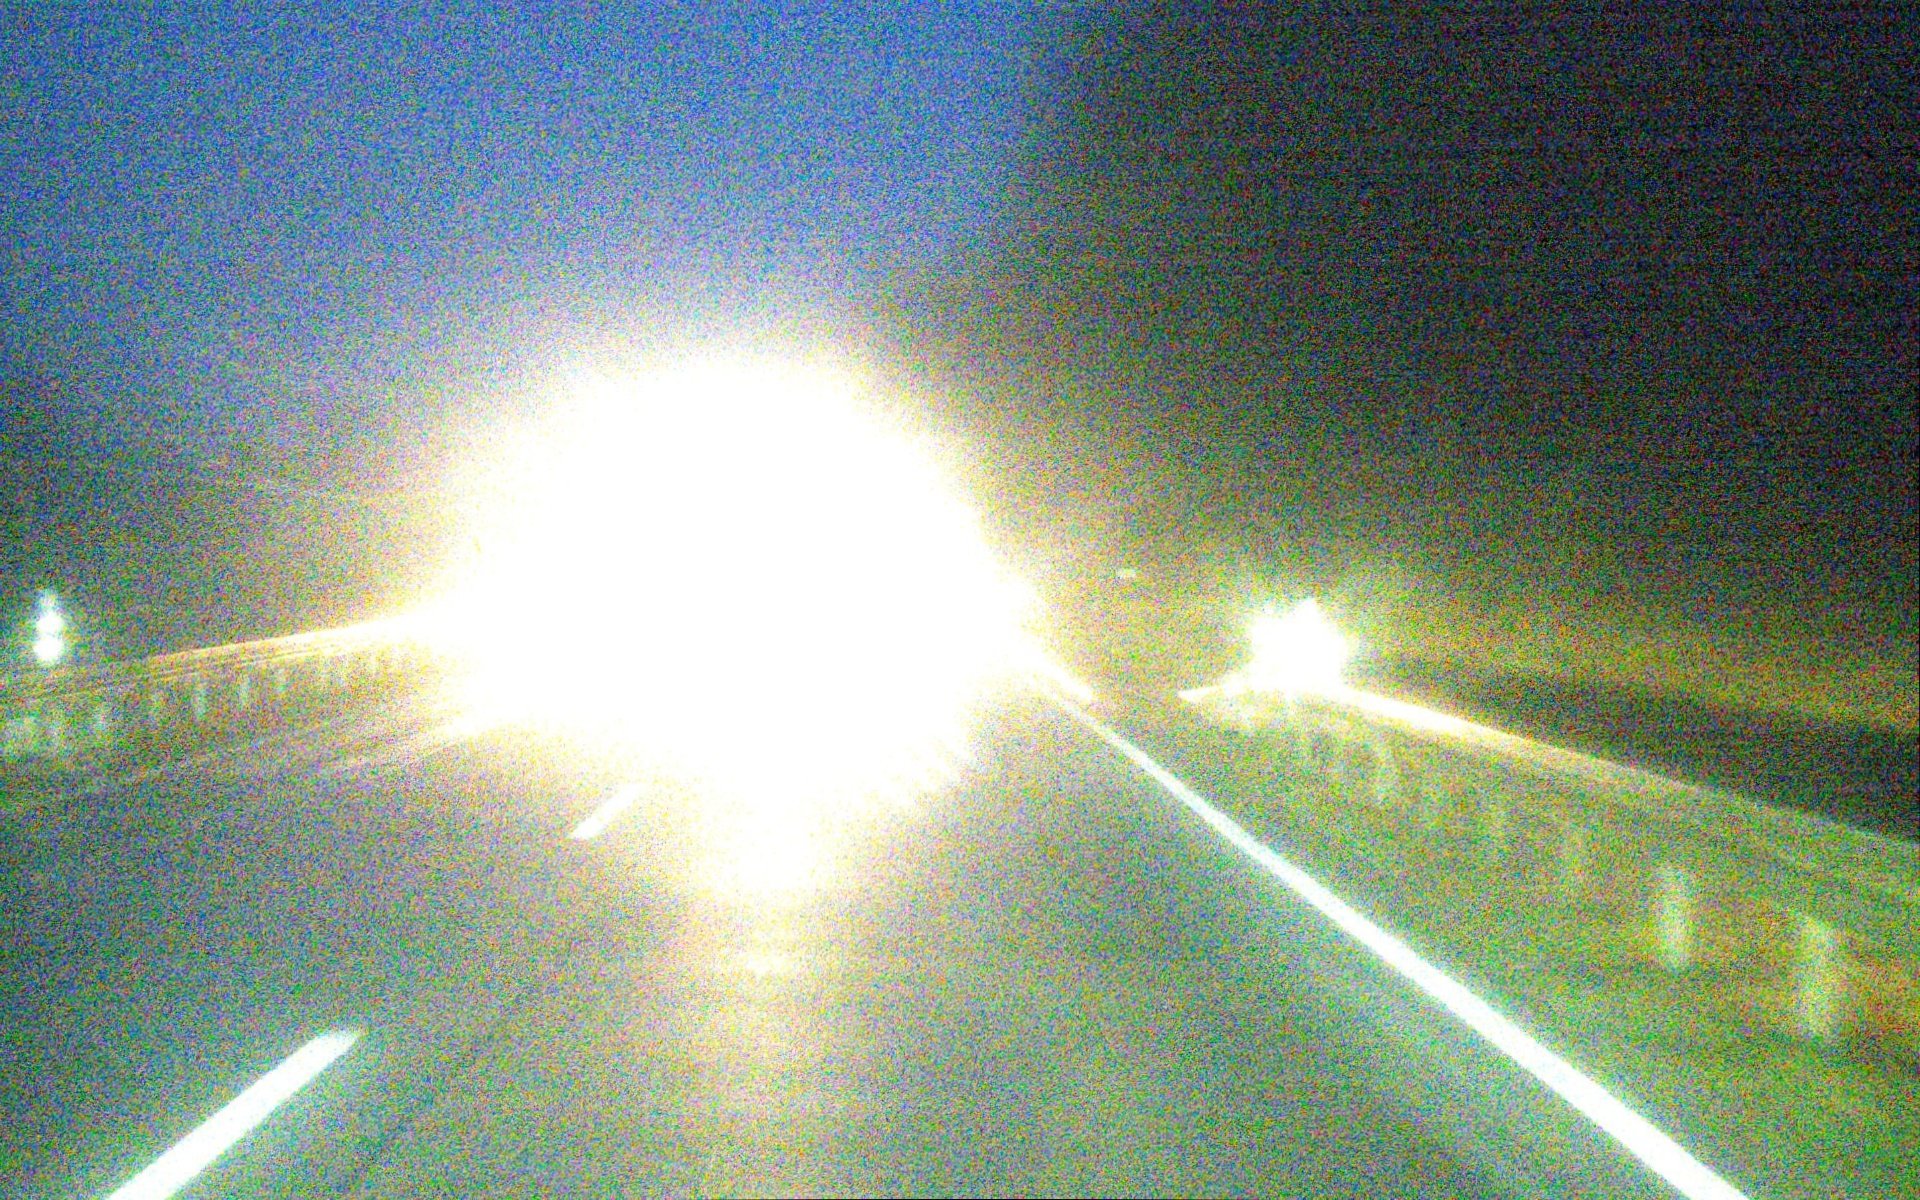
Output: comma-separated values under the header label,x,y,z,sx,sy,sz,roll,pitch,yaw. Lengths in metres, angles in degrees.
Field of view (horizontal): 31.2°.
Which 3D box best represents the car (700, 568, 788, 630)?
label,x,y,z,sx,sy,sz,roll,pitch,yaw
car,-5.348,-0.040,85.488,1.993,1.470,3.924,1,0,-1
